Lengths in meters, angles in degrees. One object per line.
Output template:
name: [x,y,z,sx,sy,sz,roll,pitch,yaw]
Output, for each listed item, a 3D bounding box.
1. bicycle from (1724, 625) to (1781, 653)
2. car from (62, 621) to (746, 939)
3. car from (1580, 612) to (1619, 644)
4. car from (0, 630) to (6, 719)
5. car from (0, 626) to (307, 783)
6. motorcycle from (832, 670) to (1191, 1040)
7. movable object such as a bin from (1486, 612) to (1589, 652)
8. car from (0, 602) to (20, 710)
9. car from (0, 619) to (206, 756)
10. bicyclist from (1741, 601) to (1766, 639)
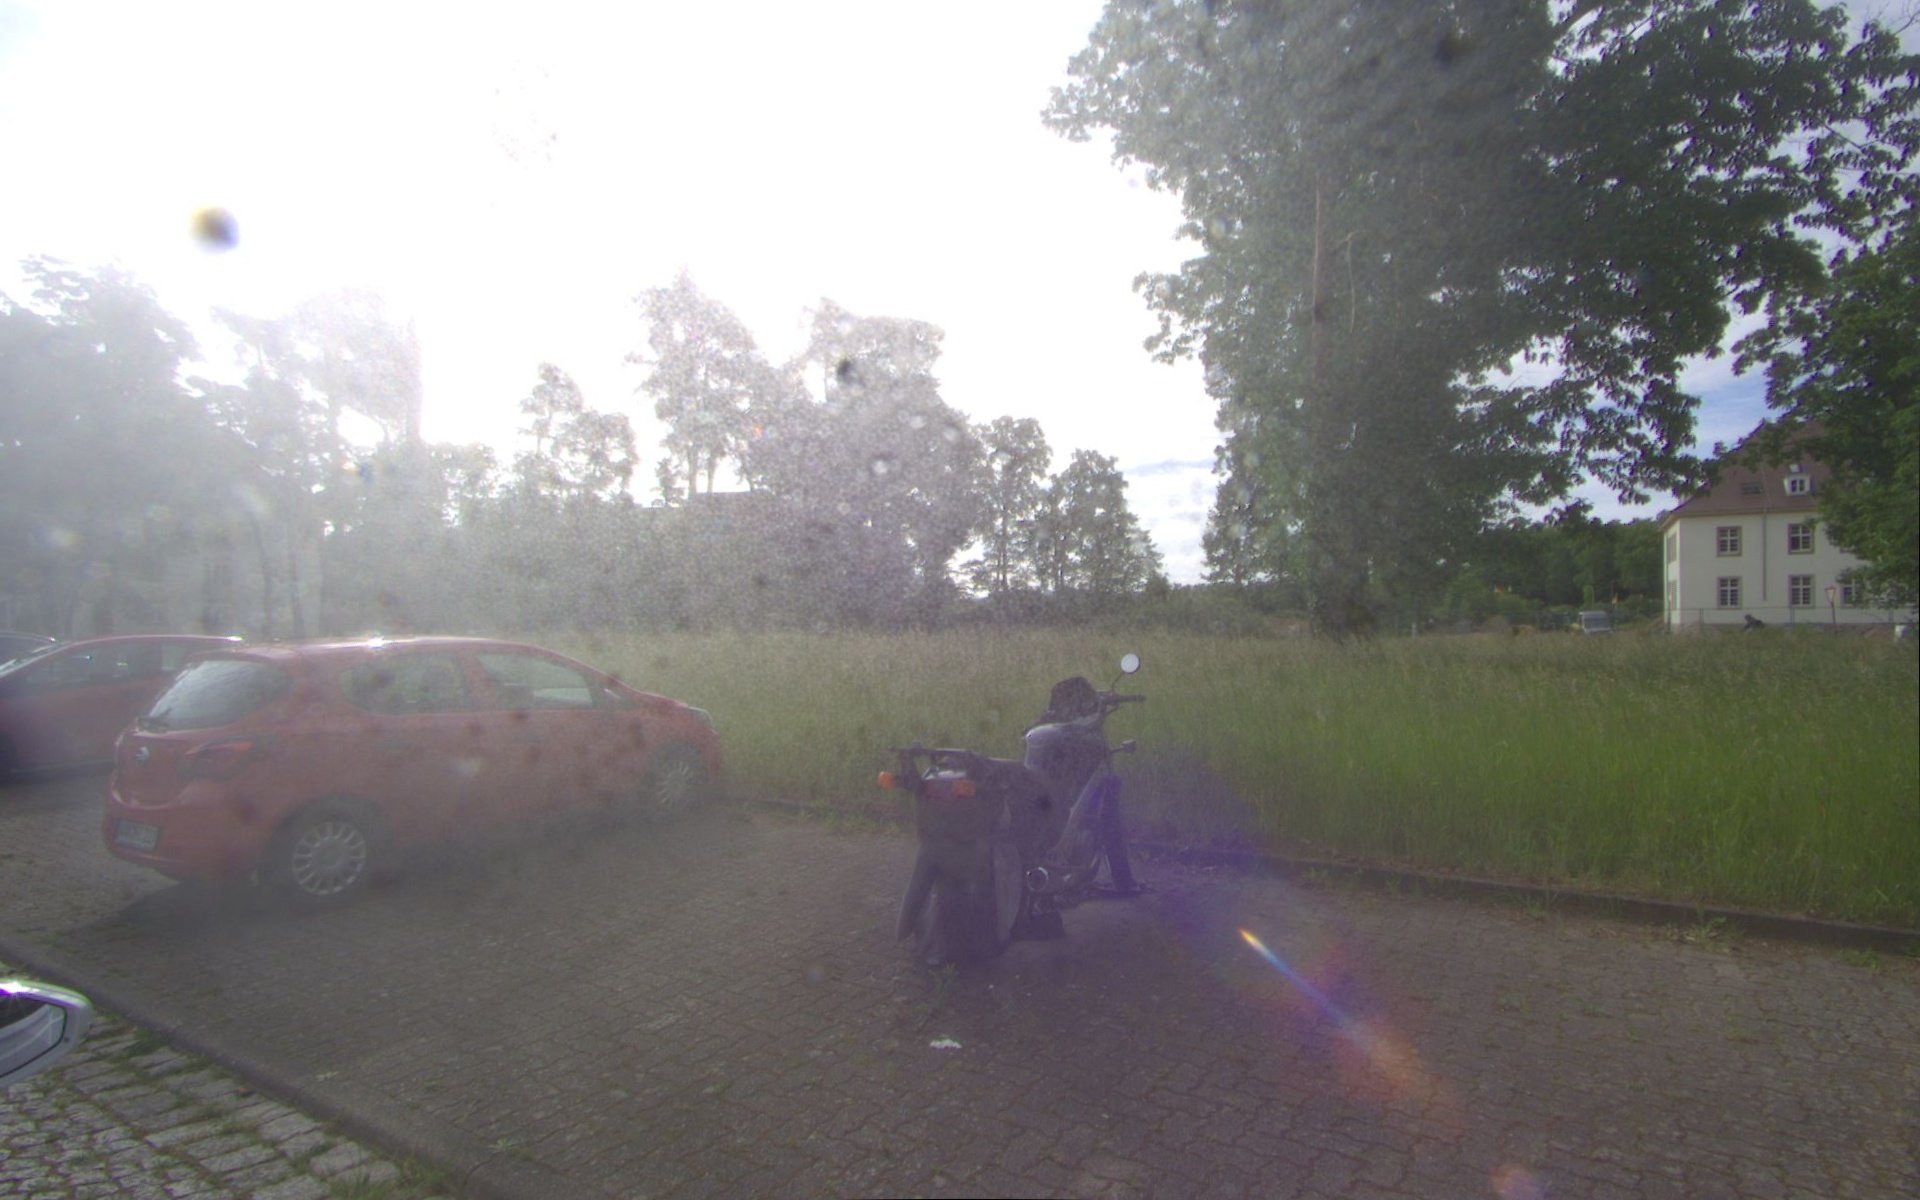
bicycle: [36.065,1.763,45.602,1.904,1.244,0.722,-1,-2,31]
car: [-3.492,0.941,7.015,1.754,1.479,3.818,-1,0,31]
car: [49.648,2.191,77.803,1.886,2.377,4.585,-1,-2,24]
car: [-17.508,1.261,15.491,1.590,1.468,3.667,-1,0,30]
car: [-9.741,1.089,11.131,1.726,1.479,3.784,-1,0,32]
motorcycle: [0.396,1.009,4.847,0.783,1.201,2.324,-1,0,29]
movable object such as a bin: [40.816,2.284,70.908,2.151,2.688,5.930,1,-2,-39]
car: [-19.534,1.059,17.074,1.903,1.980,4.747,-1,0,30]
car: [-12.050,1.076,12.366,1.725,1.573,4.023,-1,0,30]
bicyclist: [36.138,0.904,45.625,0.761,1.717,0.724,-1,-1,31]
